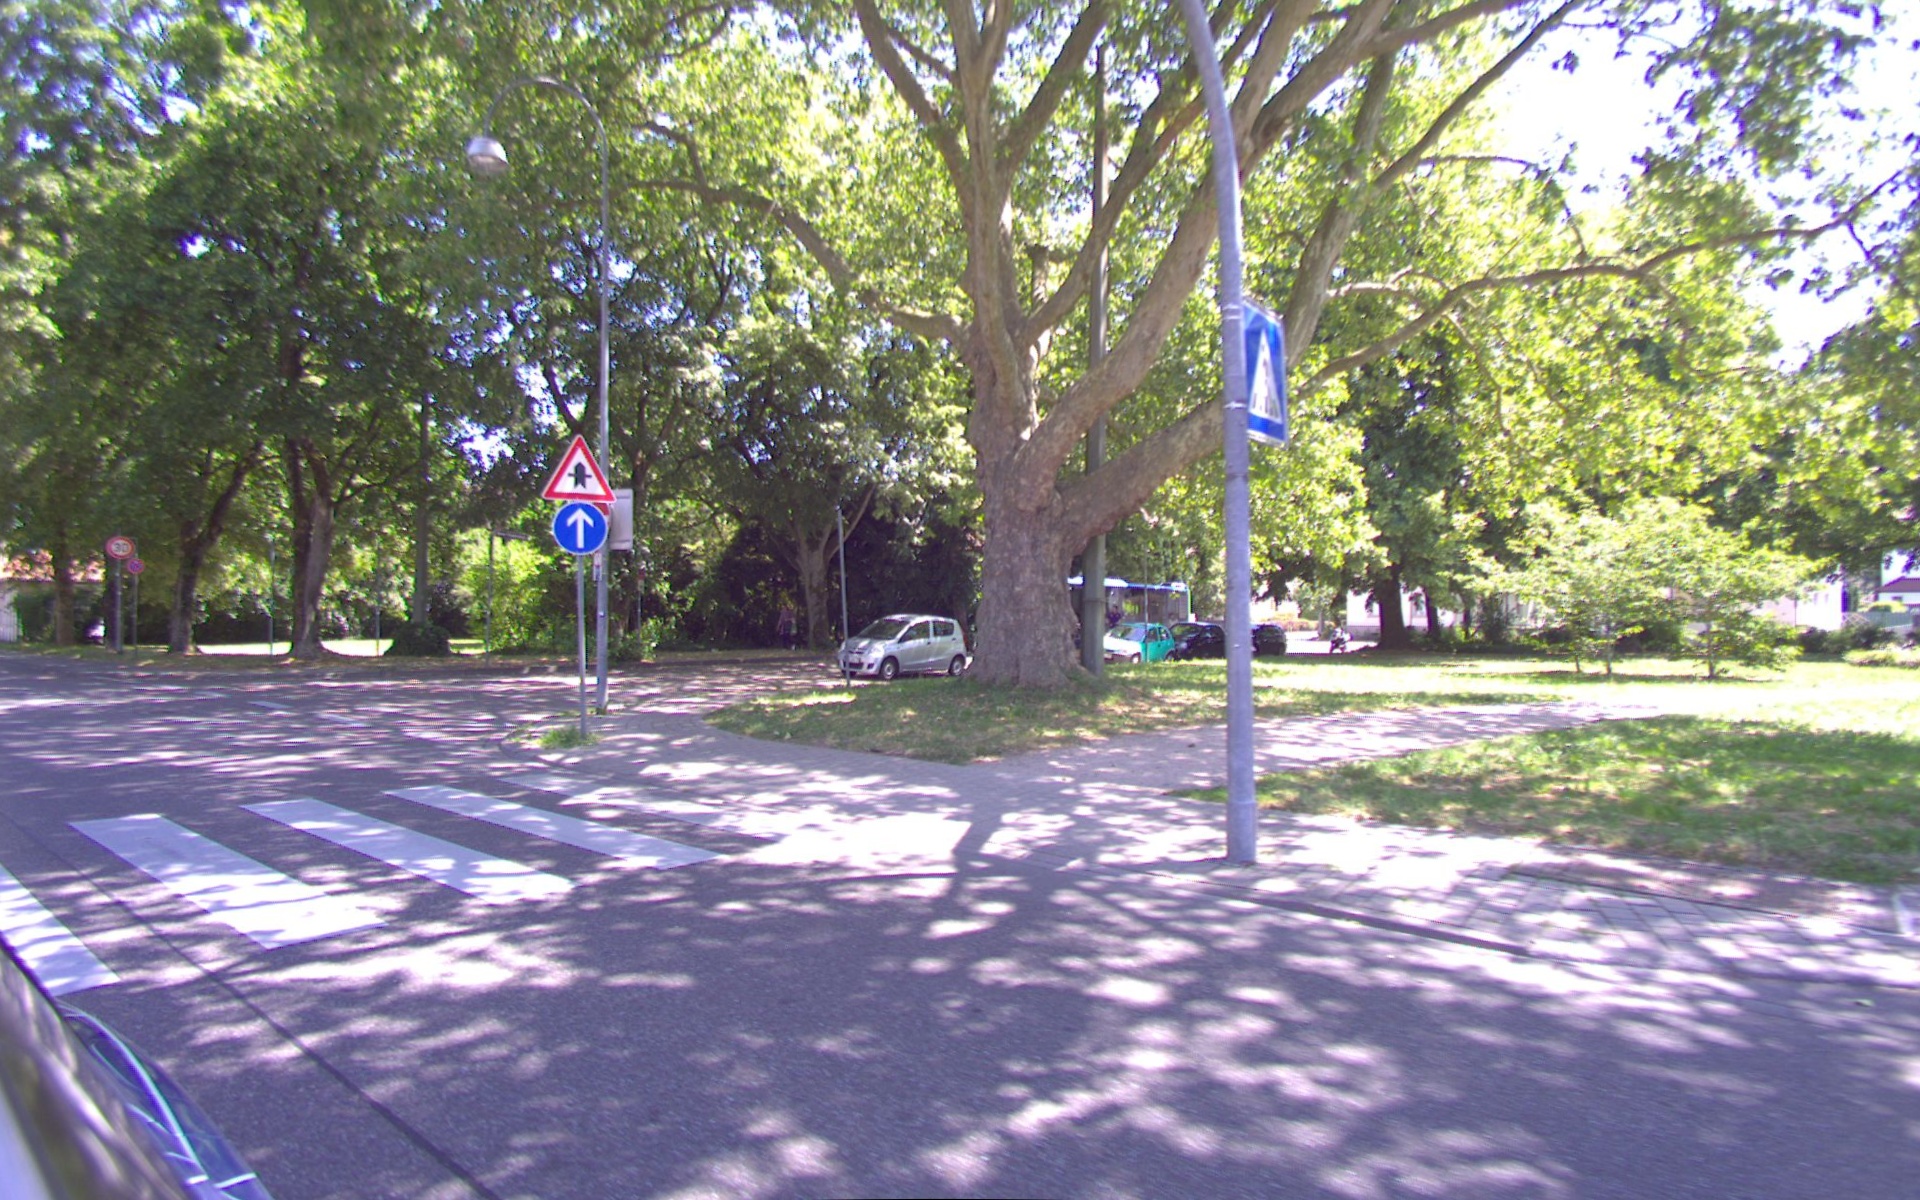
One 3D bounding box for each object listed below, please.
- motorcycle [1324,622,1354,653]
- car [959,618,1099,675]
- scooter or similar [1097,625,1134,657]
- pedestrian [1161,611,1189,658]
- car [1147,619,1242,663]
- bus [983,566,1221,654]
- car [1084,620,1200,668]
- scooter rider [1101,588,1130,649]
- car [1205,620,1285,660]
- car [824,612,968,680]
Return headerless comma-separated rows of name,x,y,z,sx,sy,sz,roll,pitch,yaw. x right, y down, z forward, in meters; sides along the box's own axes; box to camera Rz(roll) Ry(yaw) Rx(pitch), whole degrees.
motorcycle,18.394,1.814,49.084,0.712,1.437,2.231,-1,-1,39
car,2.047,1.261,28.756,1.754,1.450,4.444,1,0,39
scooter or similar,6.009,1.585,39.043,0.740,1.192,1.499,-1,-1,39
pedestrian,8.503,1.349,40.051,0.722,1.816,0.928,-1,-1,41
car,8.683,1.476,37.250,1.758,1.504,4.318,-1,-1,38
bus,6.938,0.500,45.021,2.874,3.320,15.742,-1,-1,39
car,6.098,1.400,33.526,1.754,1.450,4.707,-1,-1,39
scooter rider,6.017,0.705,39.065,0.740,2.335,0.914,-1,-1,40
car,11.539,1.587,40.791,1.758,1.504,3.867,-1,-1,38
car,-1.508,1.075,24.794,1.598,1.508,3.440,1,0,39
